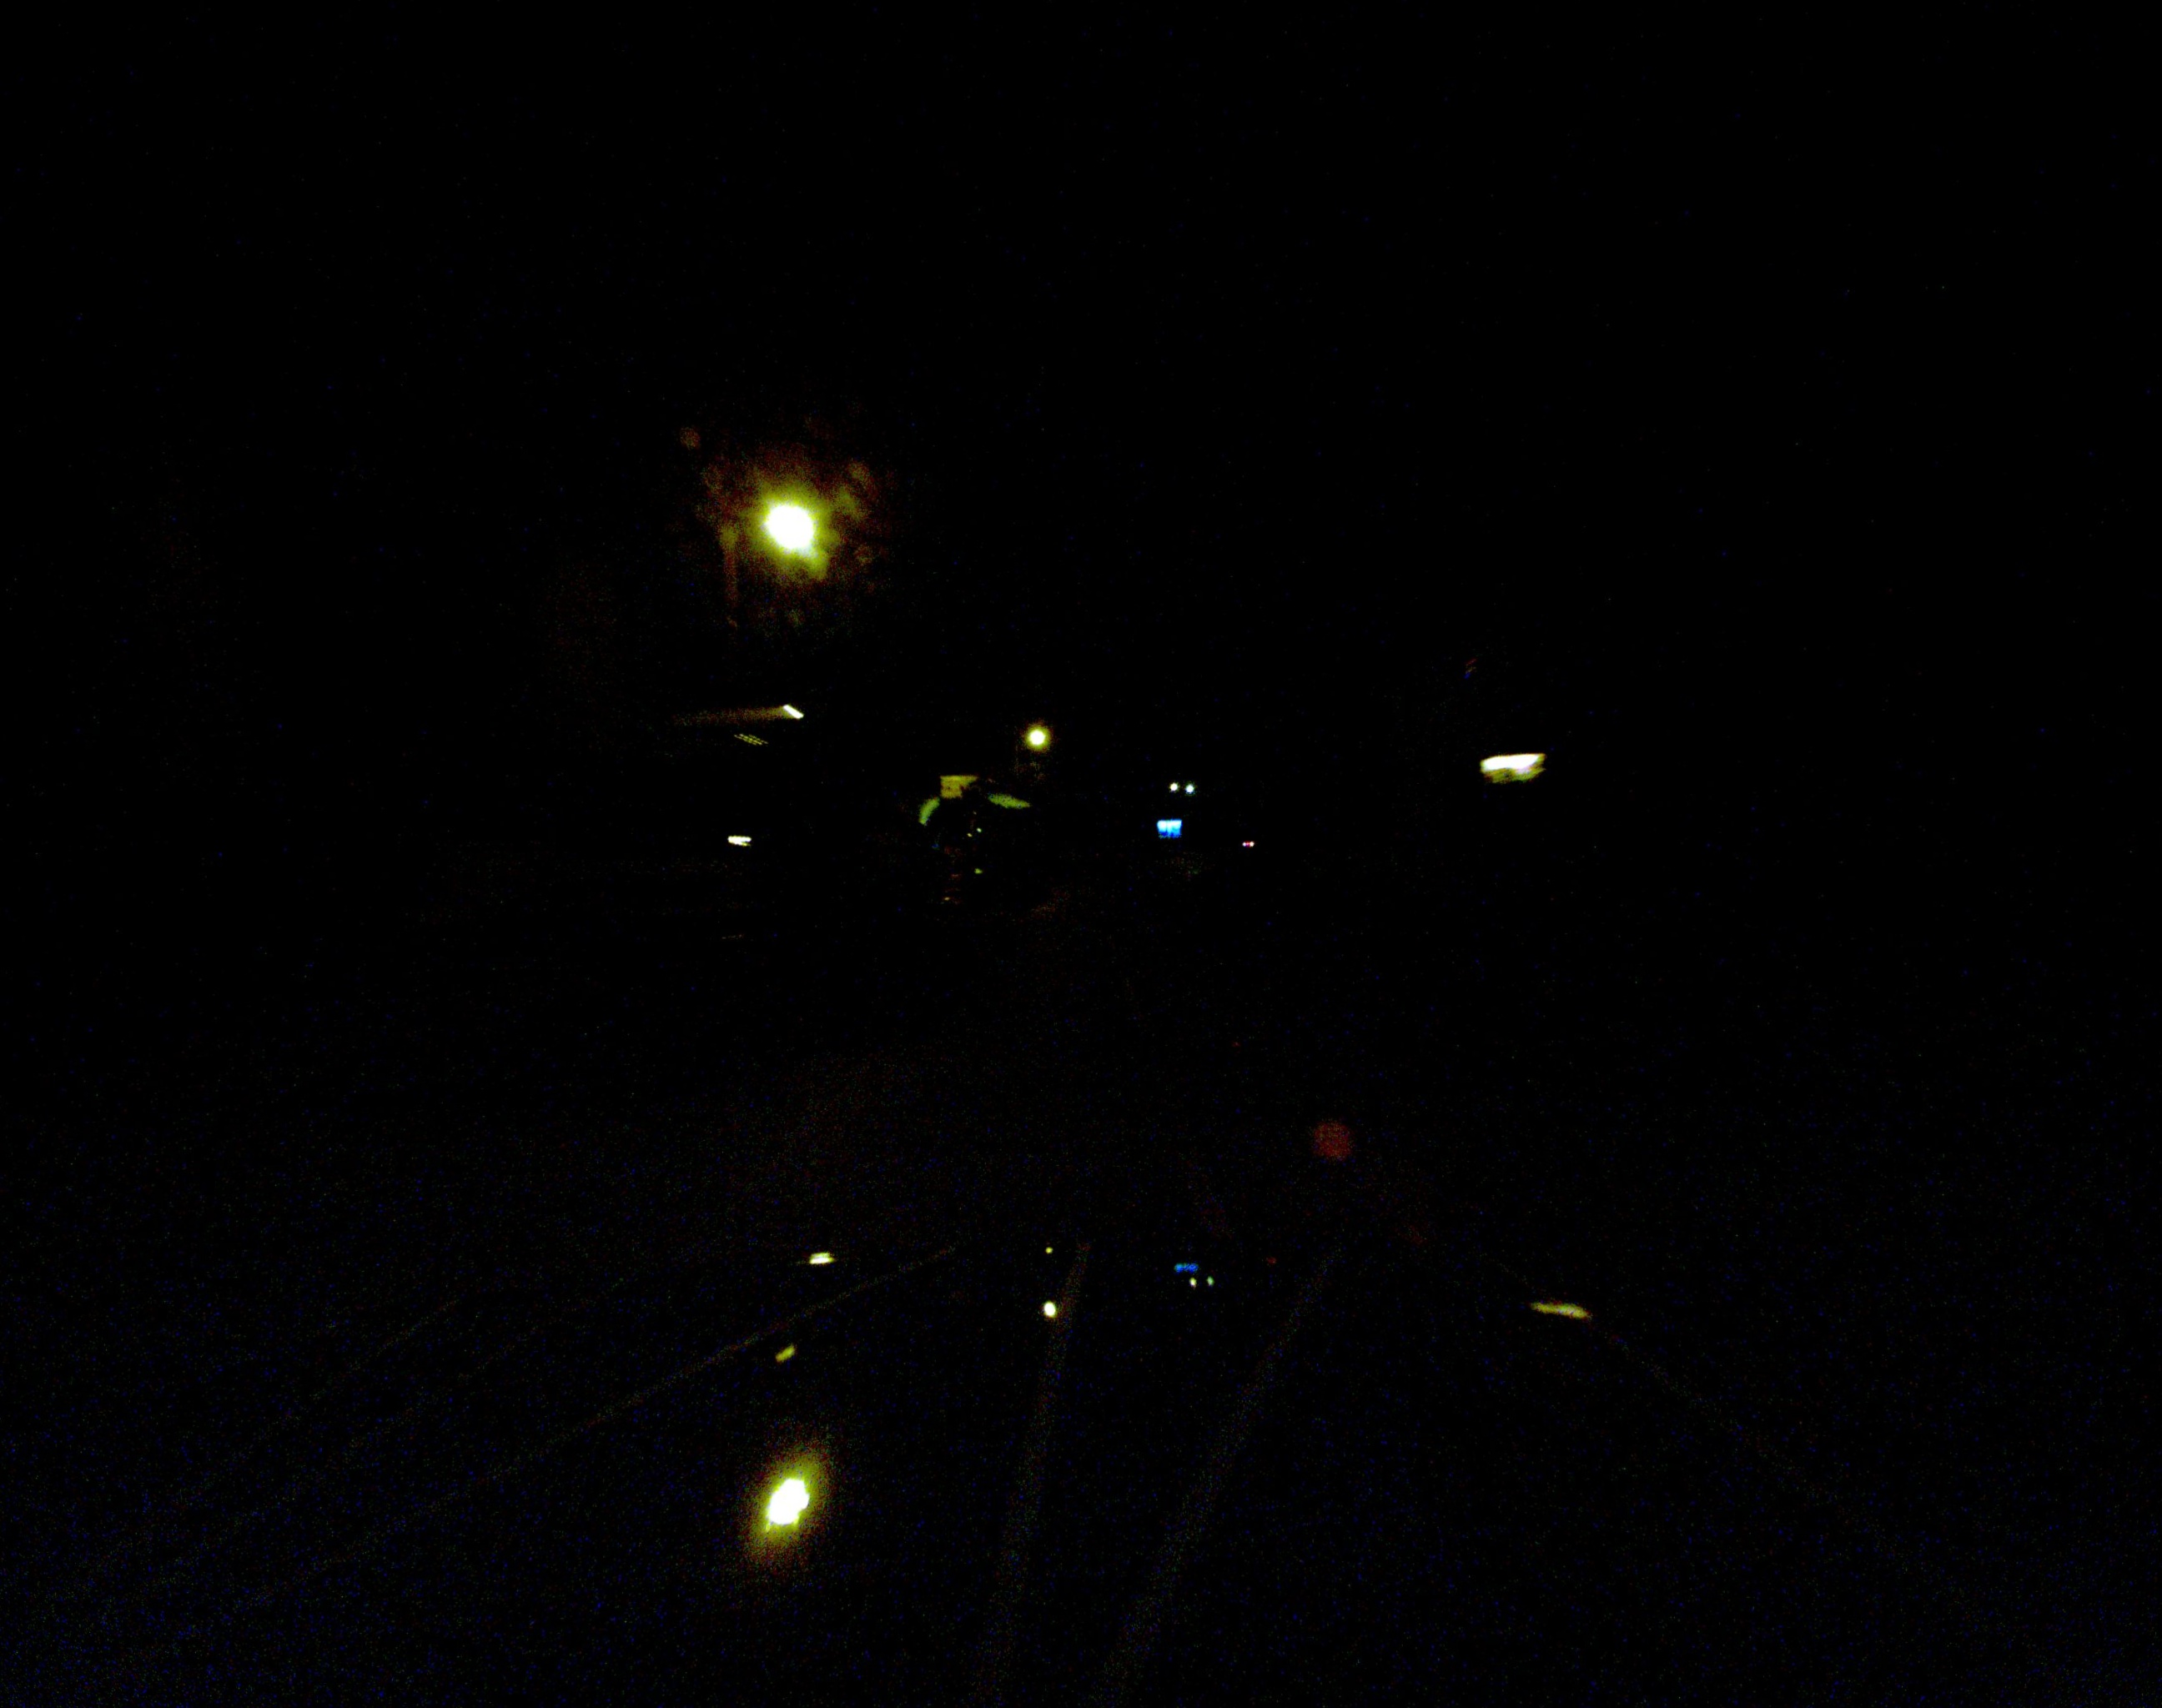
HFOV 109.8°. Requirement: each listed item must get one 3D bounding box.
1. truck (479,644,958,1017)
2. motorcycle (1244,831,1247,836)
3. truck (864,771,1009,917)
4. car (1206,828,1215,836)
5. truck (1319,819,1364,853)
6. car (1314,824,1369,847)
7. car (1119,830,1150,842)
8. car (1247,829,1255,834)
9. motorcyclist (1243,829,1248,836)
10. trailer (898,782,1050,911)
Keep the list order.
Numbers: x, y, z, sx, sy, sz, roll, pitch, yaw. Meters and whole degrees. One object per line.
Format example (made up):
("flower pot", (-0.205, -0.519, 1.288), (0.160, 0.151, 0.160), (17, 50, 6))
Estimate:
("truck", (-4.744, -0.325, 13.349), (2.836, 3.960, 10.342), (-1, 1, 3))
("motorcycle", (49.167, -6.048, 227.162), (0.999, 1.297, 2.828), (-3, 2, 11))
("truck", (-4.285, -0.317, 24.012), (2.836, 3.961, 6.051), (-1, 1, 6))
("car", (29.257, -4.970, 171.663), (1.938, 1.543, 4.003), (-3, 1, 12))
("truck", (16.385, -1.143, 47.979), (1.997, 1.889, 5.320), (-3, 1, 12))
("car", (22.265, -1.581, 65.100), (4.134, 1.762, 2.001), (-3, 2, 8))
("car", (9.472, -3.234, 134.851), (5.079, 1.826, 1.991), (-2, 2, 19))
("car", (55.566, -7.292, 248.477), (1.996, 1.618, 4.756), (-2, 2, 16))
("motorcyclist", (49.165, -6.449, 227.132), (1.136, 1.889, 0.834), (-3, 2, 10))
("trailer", (-3.625, -0.351, 30.675), (2.814, 3.960, 13.977), (-1, 1, 6))
